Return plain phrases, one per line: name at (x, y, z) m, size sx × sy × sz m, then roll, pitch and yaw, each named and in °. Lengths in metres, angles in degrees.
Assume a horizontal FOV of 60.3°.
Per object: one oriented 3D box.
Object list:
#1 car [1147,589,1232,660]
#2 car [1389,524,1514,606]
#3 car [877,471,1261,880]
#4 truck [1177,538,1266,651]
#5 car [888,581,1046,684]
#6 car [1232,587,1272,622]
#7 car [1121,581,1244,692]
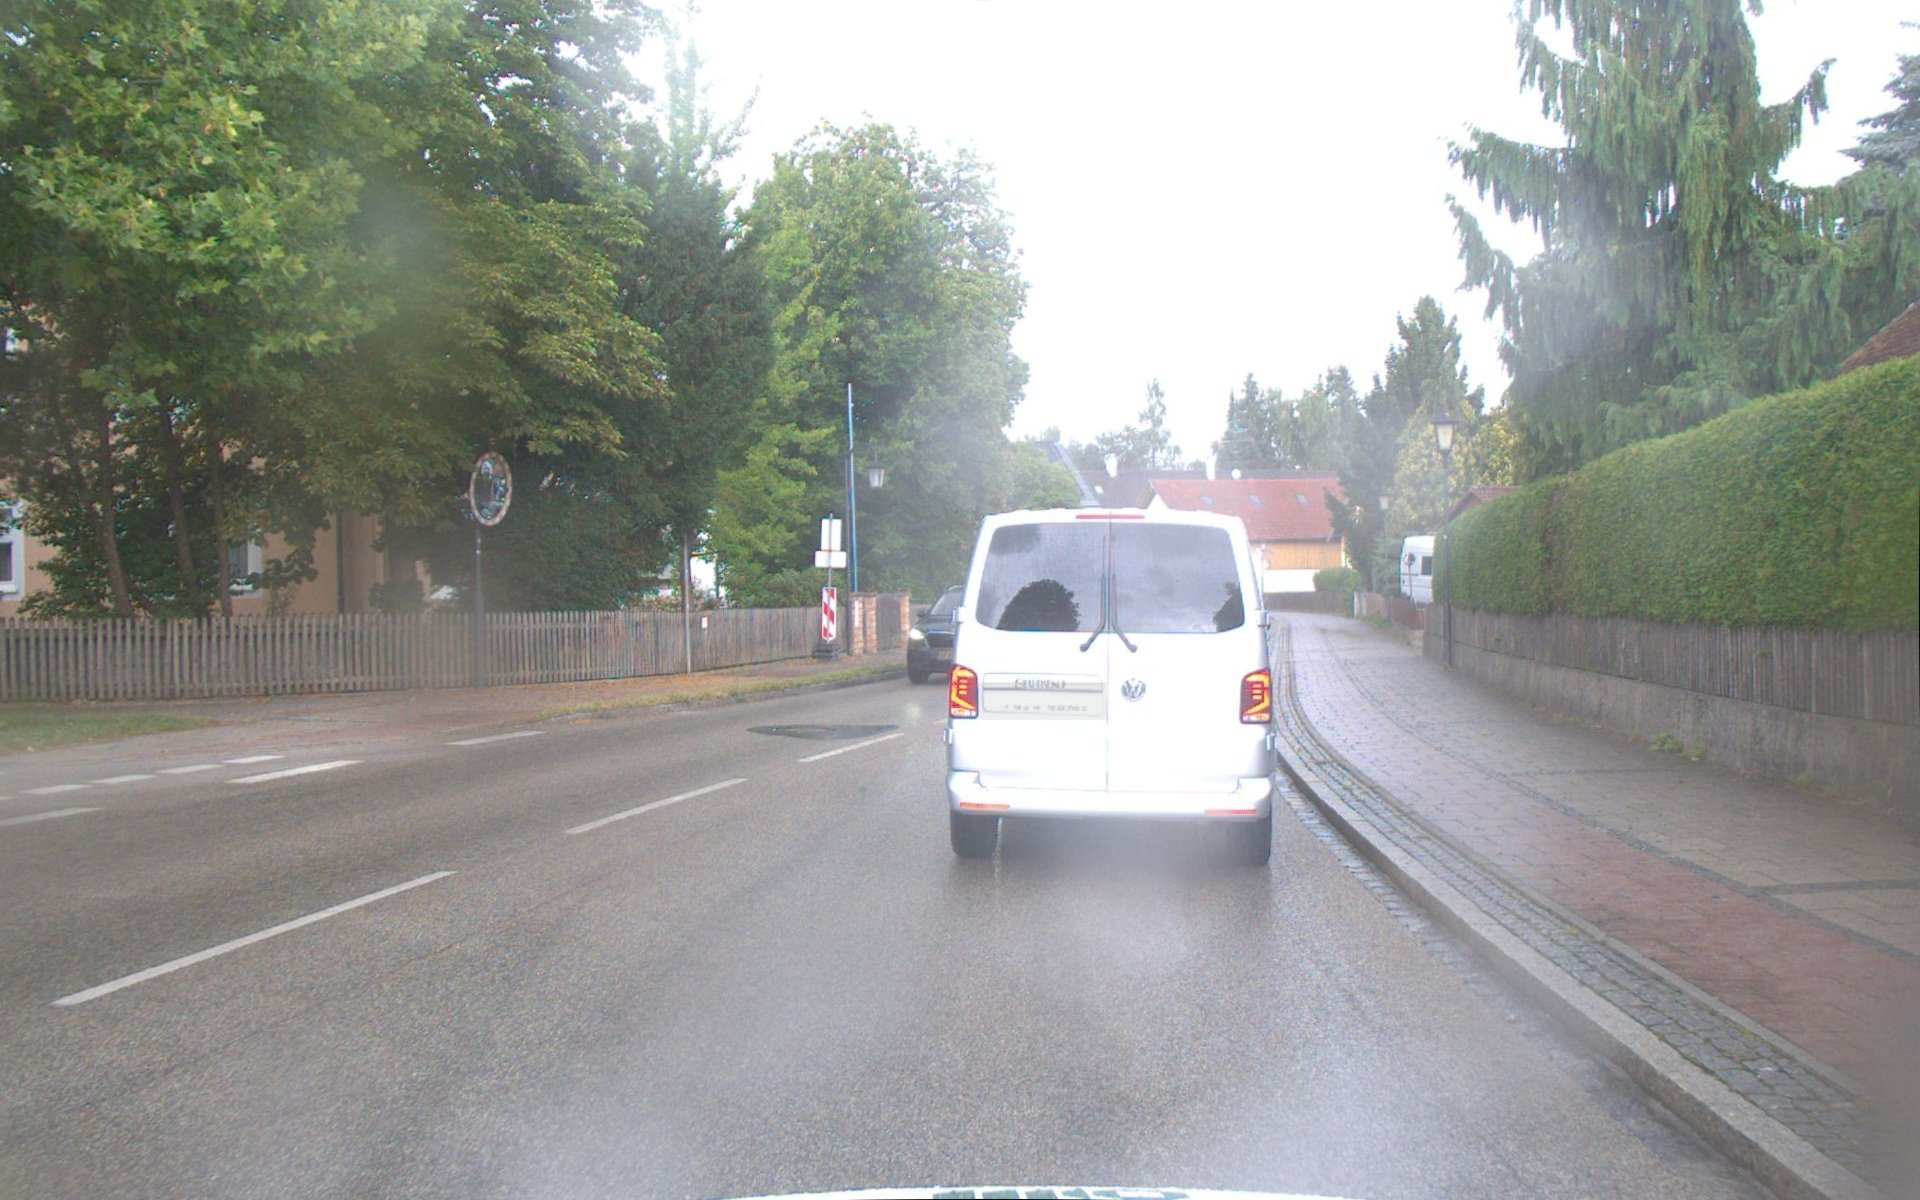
car at (5.394, 0.561, 38.504) m, size 1.762 × 1.534 × 4.003 m, roll 1°, pitch 0°, yaw 10°
car at (14.082, -0.948, 47.679) m, size 1.953 × 2.211 × 4.950 m, roll 1°, pitch 0°, yaw -2°
car at (0.894, 0.381, 10.457) m, size 1.762 × 2.049 × 4.003 m, roll 1°, pitch 0°, yaw 13°
truck at (7.890, -0.136, 49.465) m, size 2.422 × 3.128 × 6.301 m, roll 1°, pitch 0°, yaw 10°
car at (0.216, 0.504, 28.536) m, size 1.951 × 1.623 × 4.195 m, roll 1°, pitch 0°, yaw 11°
car at (13.368, 0.222, 75.664) m, size 1.762 × 1.534 × 4.003 m, roll 1°, pitch 0°, yaw 10°
car at (3.656, 0.553, 26.669) m, size 1.762 × 1.616 × 4.003 m, roll 1°, pitch 0°, yaw 10°
